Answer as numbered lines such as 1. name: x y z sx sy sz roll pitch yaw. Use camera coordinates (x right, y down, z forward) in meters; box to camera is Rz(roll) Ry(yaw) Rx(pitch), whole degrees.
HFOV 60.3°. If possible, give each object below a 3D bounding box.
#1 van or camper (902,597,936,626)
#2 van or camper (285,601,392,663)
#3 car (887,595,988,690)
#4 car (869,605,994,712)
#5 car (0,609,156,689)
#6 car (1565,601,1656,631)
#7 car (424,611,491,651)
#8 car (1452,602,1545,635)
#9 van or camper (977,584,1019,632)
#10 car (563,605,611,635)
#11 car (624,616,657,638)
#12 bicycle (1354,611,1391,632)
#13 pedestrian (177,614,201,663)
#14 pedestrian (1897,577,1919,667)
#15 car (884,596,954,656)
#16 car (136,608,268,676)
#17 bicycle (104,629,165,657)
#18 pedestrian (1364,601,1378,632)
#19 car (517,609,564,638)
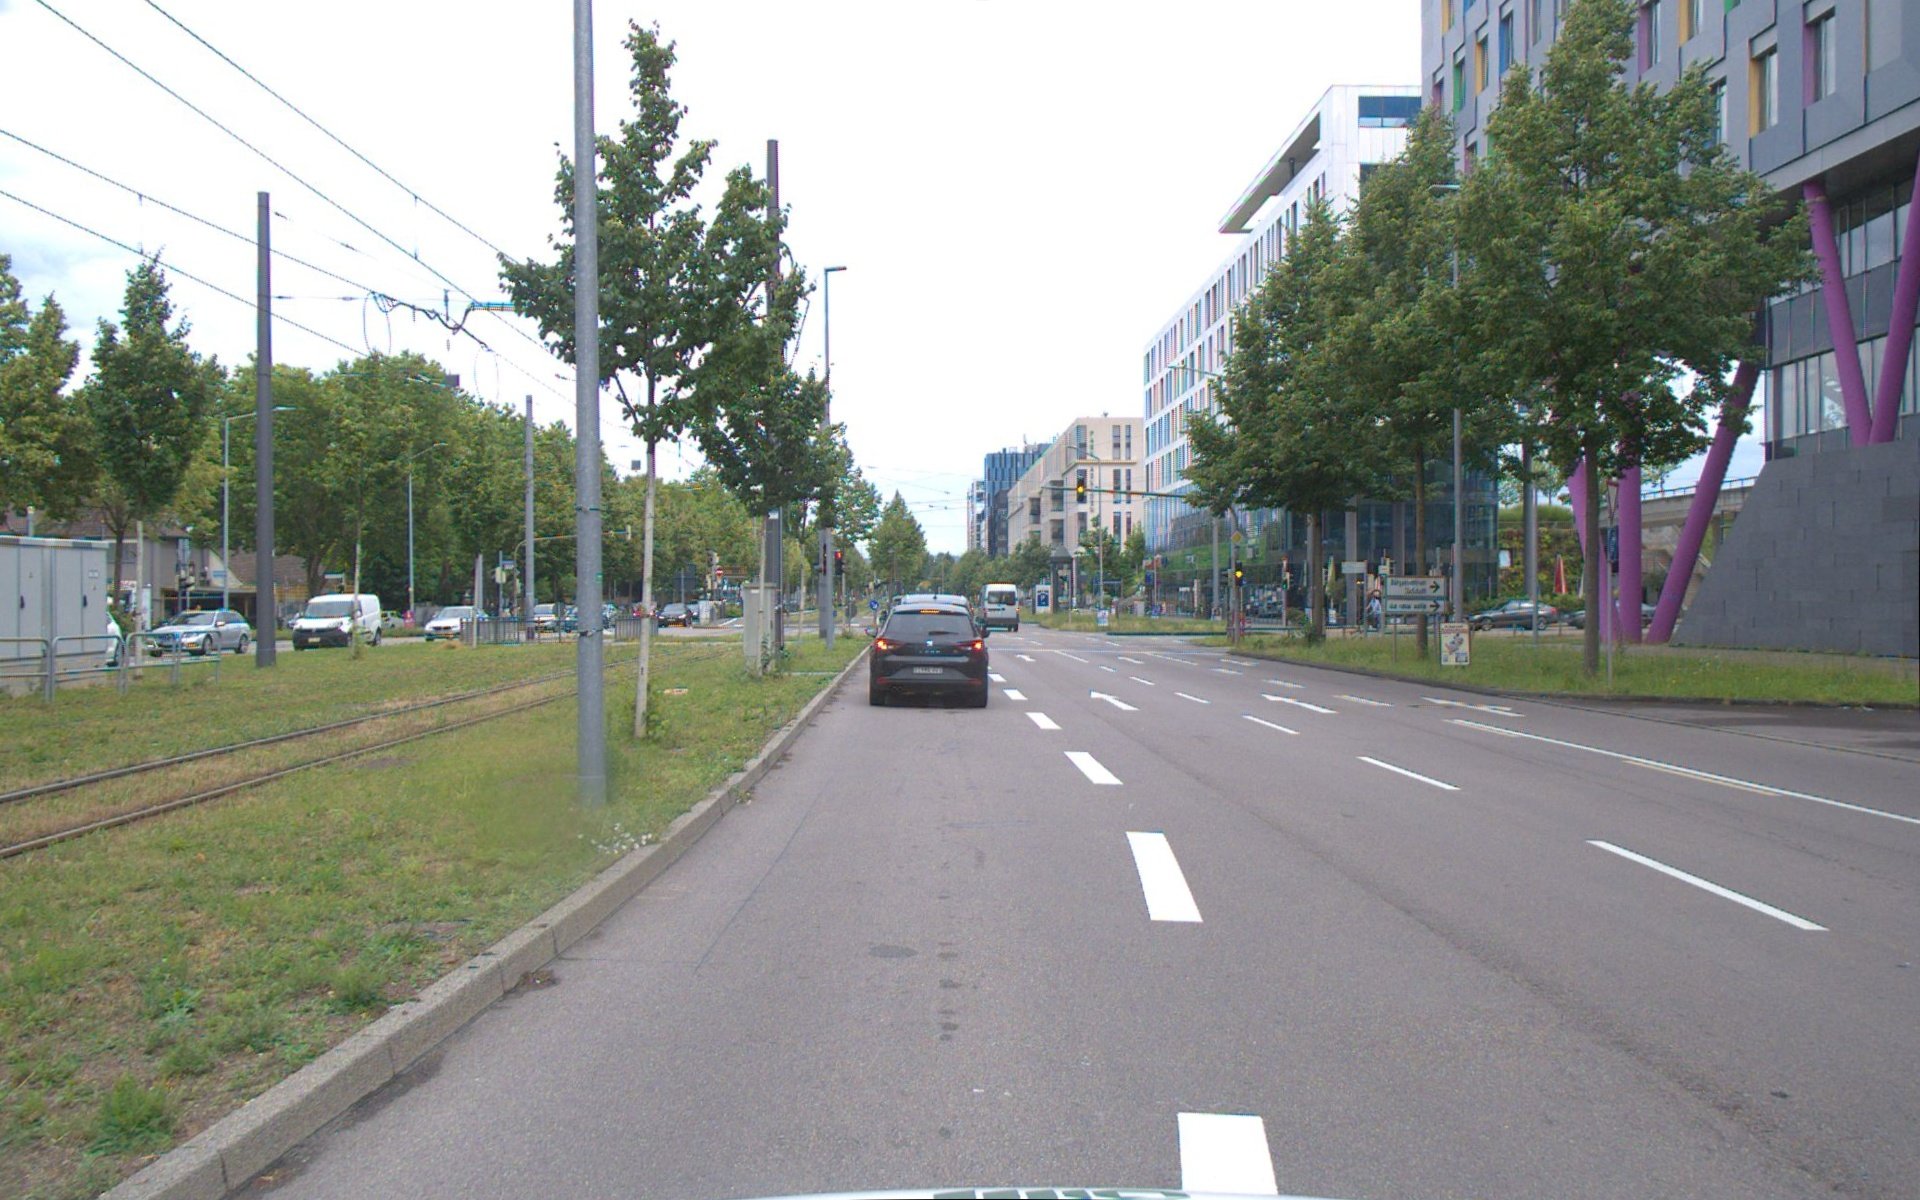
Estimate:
1. van or camper: -2.428 0.676 99.379 1.953 1.643 4.788 0 1 -1
2. van or camper: -20.707 1.030 55.338 1.851 1.933 5.121 -1 0 -3
3. car: -0.436 0.744 31.078 1.766 1.653 3.999 0 0 -1
4. car: -0.473 0.817 24.892 1.708 1.442 3.998 1 0 -2
5. car: -18.732 0.979 34.672 1.727 1.505 4.569 -1 0 -4
6. car: 33.404 0.818 84.996 3.997 1.480 1.758 -1 0 0
7. car: -21.133 1.289 69.743 1.695 1.470 4.916 -2 1 -6
8. car: 27.500 0.947 84.529 4.163 1.643 1.758 -1 0 0
9. van or camper: 2.012 0.418 89.308 2.066 2.397 4.923 0 2 -1
10. car: -21.151 1.123 94.004 1.925 1.616 4.685 0 0 -3
11. car: -25.293 2.139 131.038 1.759 1.598 4.327 0 0 0
12. bicycle: 21.513 1.123 86.280 1.755 1.104 0.618 -1 0 0
13. pedestrian: -30.150 1.495 64.695 0.766 1.864 0.771 0 0 -19
14. pedestrian: 19.644 0.429 33.191 1.030 1.801 1.137 -1 0 -1
15. car: -1.202 0.765 50.188 1.952 1.711 4.000 1 0 1
16. car: -24.636 1.308 53.969 1.953 2.049 5.293 0 0 -1
17. bicycle: -38.115 1.968 76.391 2.479 1.223 0.733 0 0 -28
18. pedestrian: 21.437 0.860 86.273 0.602 1.632 0.618 -1 0 1
19. car: -24.590 1.380 97.036 1.760 1.598 4.575 2 -1 -3
